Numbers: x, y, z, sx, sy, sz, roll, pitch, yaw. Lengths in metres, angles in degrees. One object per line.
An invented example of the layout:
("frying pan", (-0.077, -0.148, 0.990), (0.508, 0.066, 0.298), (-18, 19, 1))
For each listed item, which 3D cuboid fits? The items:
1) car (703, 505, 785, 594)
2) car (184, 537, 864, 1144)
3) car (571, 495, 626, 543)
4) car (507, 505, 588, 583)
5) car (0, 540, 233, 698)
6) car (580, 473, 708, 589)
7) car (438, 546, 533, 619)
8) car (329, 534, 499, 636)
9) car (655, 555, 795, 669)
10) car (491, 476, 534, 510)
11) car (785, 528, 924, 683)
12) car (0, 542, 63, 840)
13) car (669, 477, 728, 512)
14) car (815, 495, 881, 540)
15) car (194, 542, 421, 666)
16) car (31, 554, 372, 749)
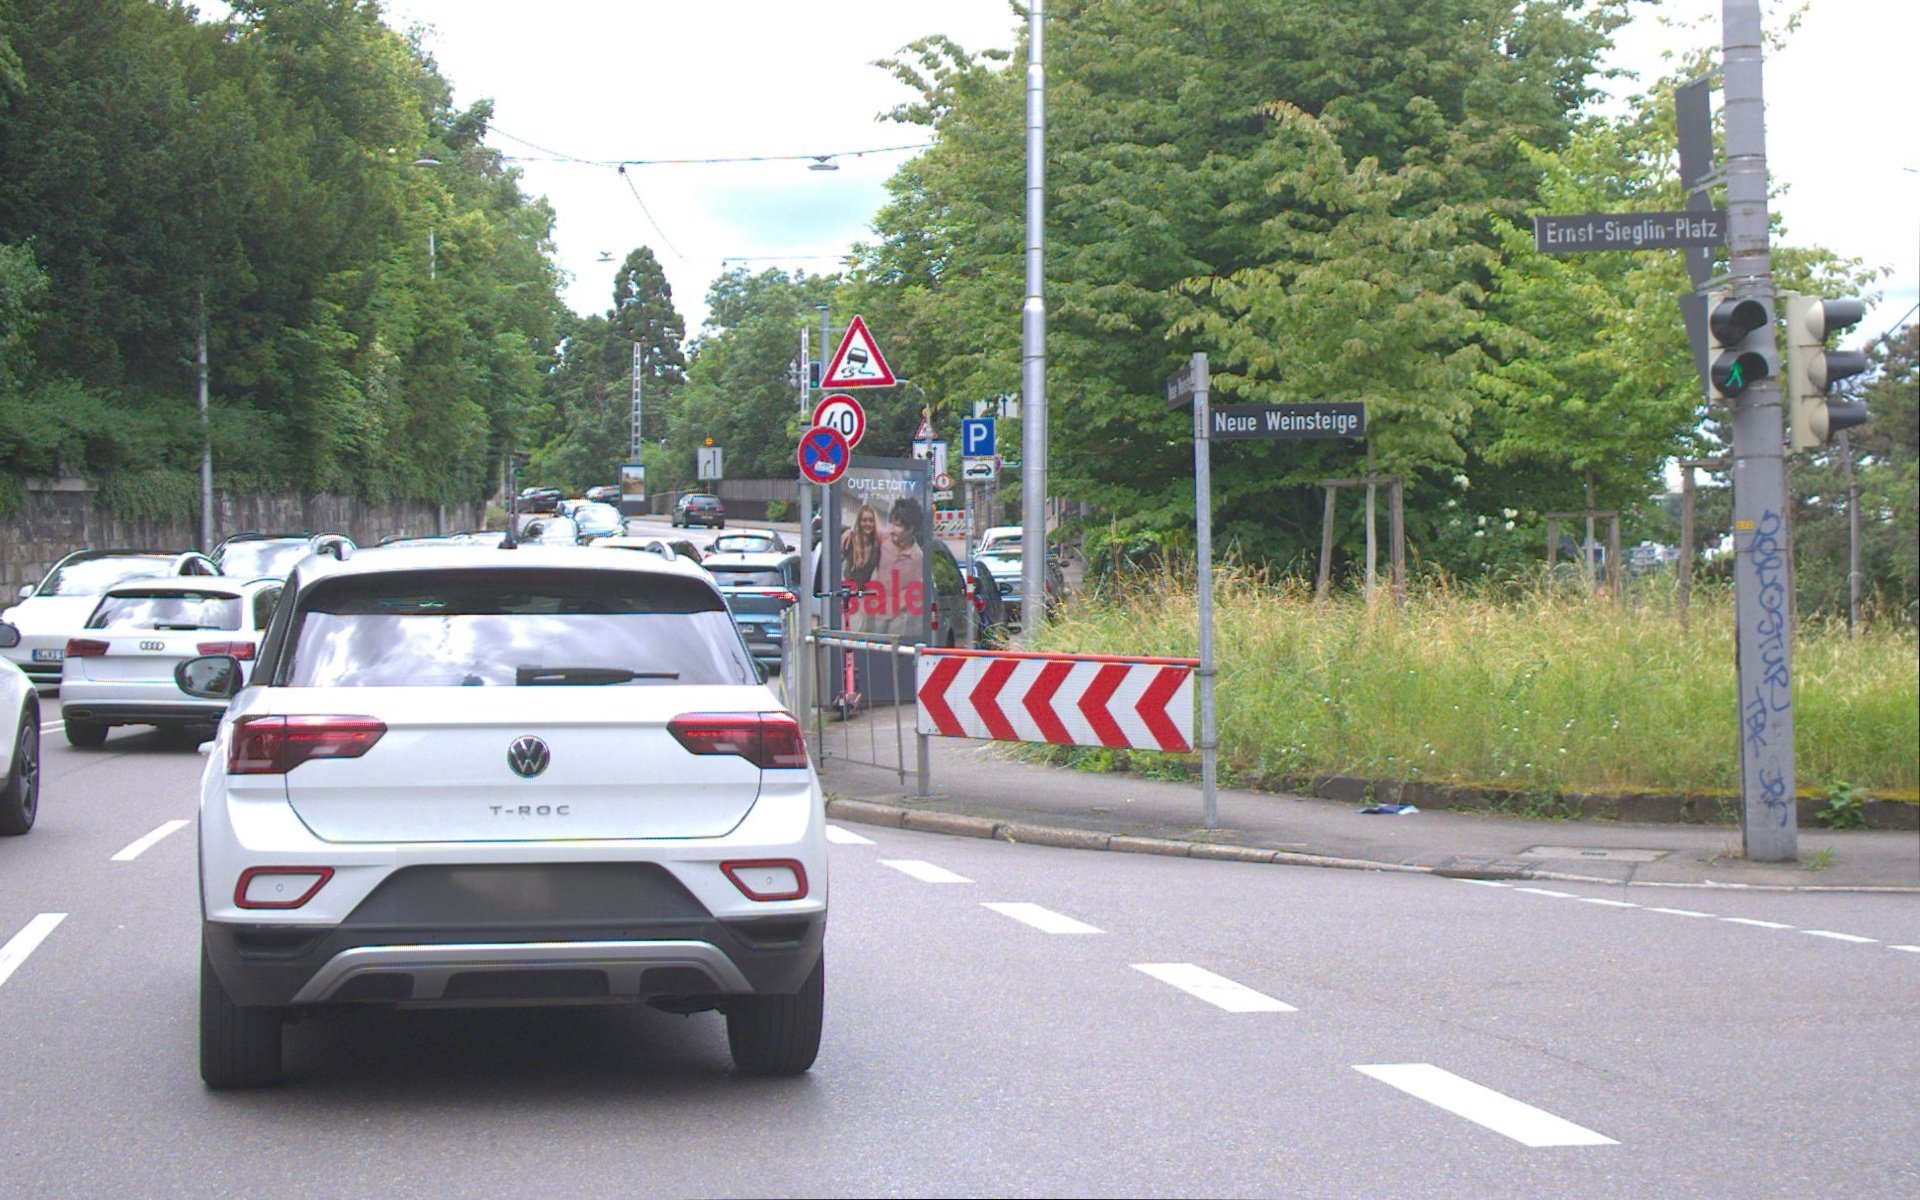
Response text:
("car", (-4.696, -1.104, 74.311), (1.633, 1.813, 4.001), (-2, 1, -5))
("car", (-1.607, 0.597, 11.178), (1.754, 1.547, 4.339), (-1, 1, -13))
("car", (-11.386, -2.574, 108.349), (1.646, 1.445, 3.547), (0, 2, -5))
("car", (-10.858, -1.495, 90.660), (1.733, 2.007, 3.932), (0, 1, -1))
("car", (-9.730, 0.167, 38.909), (1.993, 1.631, 4.398), (2, 1, 0))
("car", (-4.772, -1.082, 52.351), (1.787, 1.630, 3.737), (1, 2, -3))
("car", (-10.350, -0.386, 75.136), (1.650, 1.512, 3.851), (1, 0, -2))
("car", (-8.448, -0.260, 53.486), (1.817, 1.435, 4.062), (1, 2, 3))
("car", (-3.111, 0.123, 46.093), (1.628, 1.415, 3.855), (1, 1, -1))
("car", (-24.213, -5.786, 185.764), (1.748, 1.780, 4.001), (-1, 1, -15))
("car", (-1.215, 0.029, 40.497), (1.494, 1.743, 3.118), (0, 1, 1))
("car", (-6.053, 0.495, 18.067), (1.858, 1.600, 4.672), (0, 1, -5))
("car", (-11.174, -4.503, 146.782), (1.646, 1.446, 3.547), (-1, 1, -19))
("car", (-3.642, -2.659, 110.917), (1.646, 1.446, 3.547), (0, 1, -10))
("car", (-8.844, 0.012, 46.970), (1.893, 1.562, 4.479), (2, 1, 5))
("car", (-6.590, 0.388, 30.408), (1.865, 1.529, 4.777), (1, 1, 1))
